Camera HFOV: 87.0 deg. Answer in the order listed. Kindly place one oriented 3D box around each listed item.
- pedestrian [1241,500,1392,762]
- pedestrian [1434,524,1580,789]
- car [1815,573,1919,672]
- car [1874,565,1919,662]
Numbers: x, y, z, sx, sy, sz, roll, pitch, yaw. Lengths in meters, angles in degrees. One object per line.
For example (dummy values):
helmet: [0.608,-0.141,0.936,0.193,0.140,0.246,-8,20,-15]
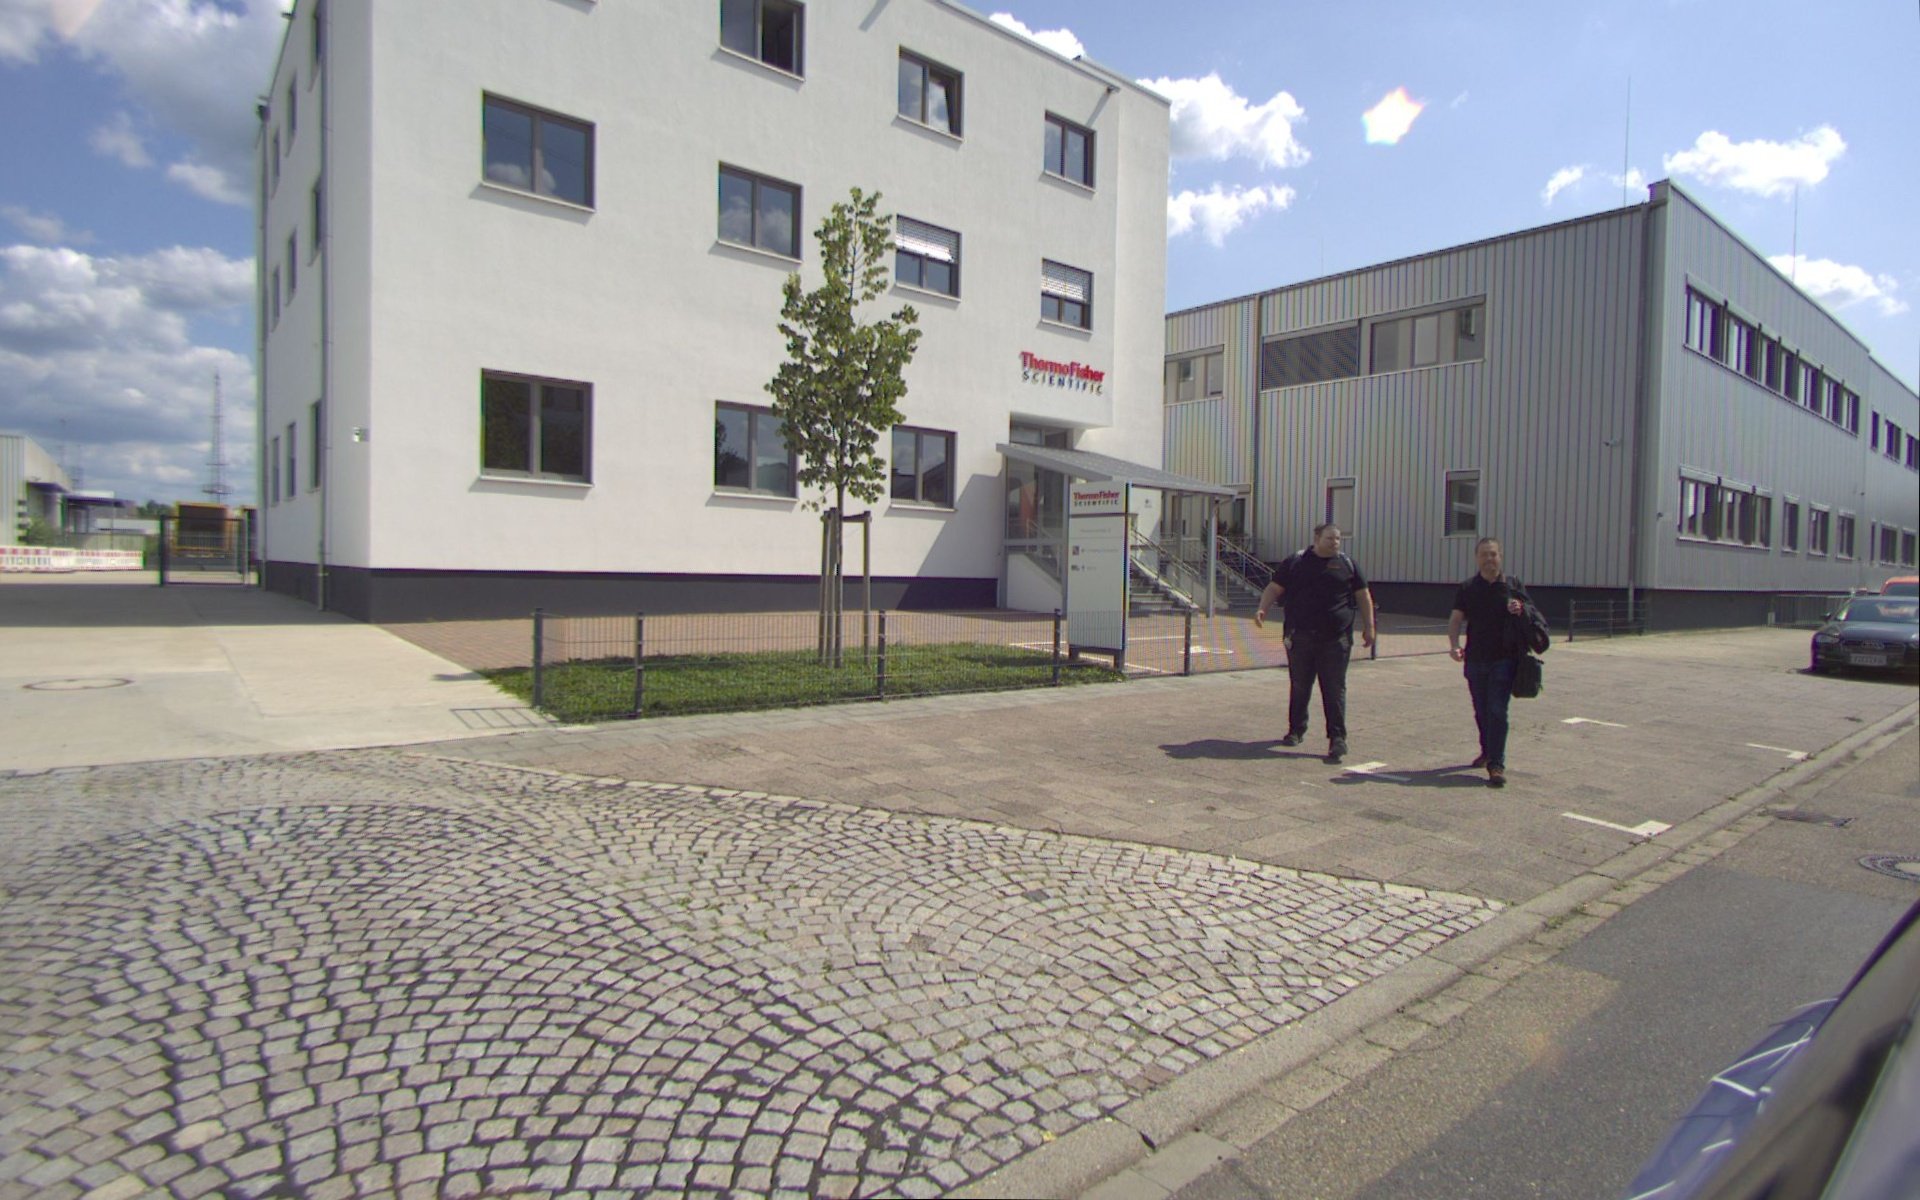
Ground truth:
pedestrian: [2.950,0.203,8.331,0.983,1.975,1.081,2,2,27]
pedestrian: [4.091,0.365,7.637,0.851,1.829,0.996,2,2,27]
car: [16.576,0.336,17.774,4.104,1.577,1.662,-1,0,-40]
car: [20.929,0.236,21.402,4.377,1.917,1.874,-1,-2,-42]
